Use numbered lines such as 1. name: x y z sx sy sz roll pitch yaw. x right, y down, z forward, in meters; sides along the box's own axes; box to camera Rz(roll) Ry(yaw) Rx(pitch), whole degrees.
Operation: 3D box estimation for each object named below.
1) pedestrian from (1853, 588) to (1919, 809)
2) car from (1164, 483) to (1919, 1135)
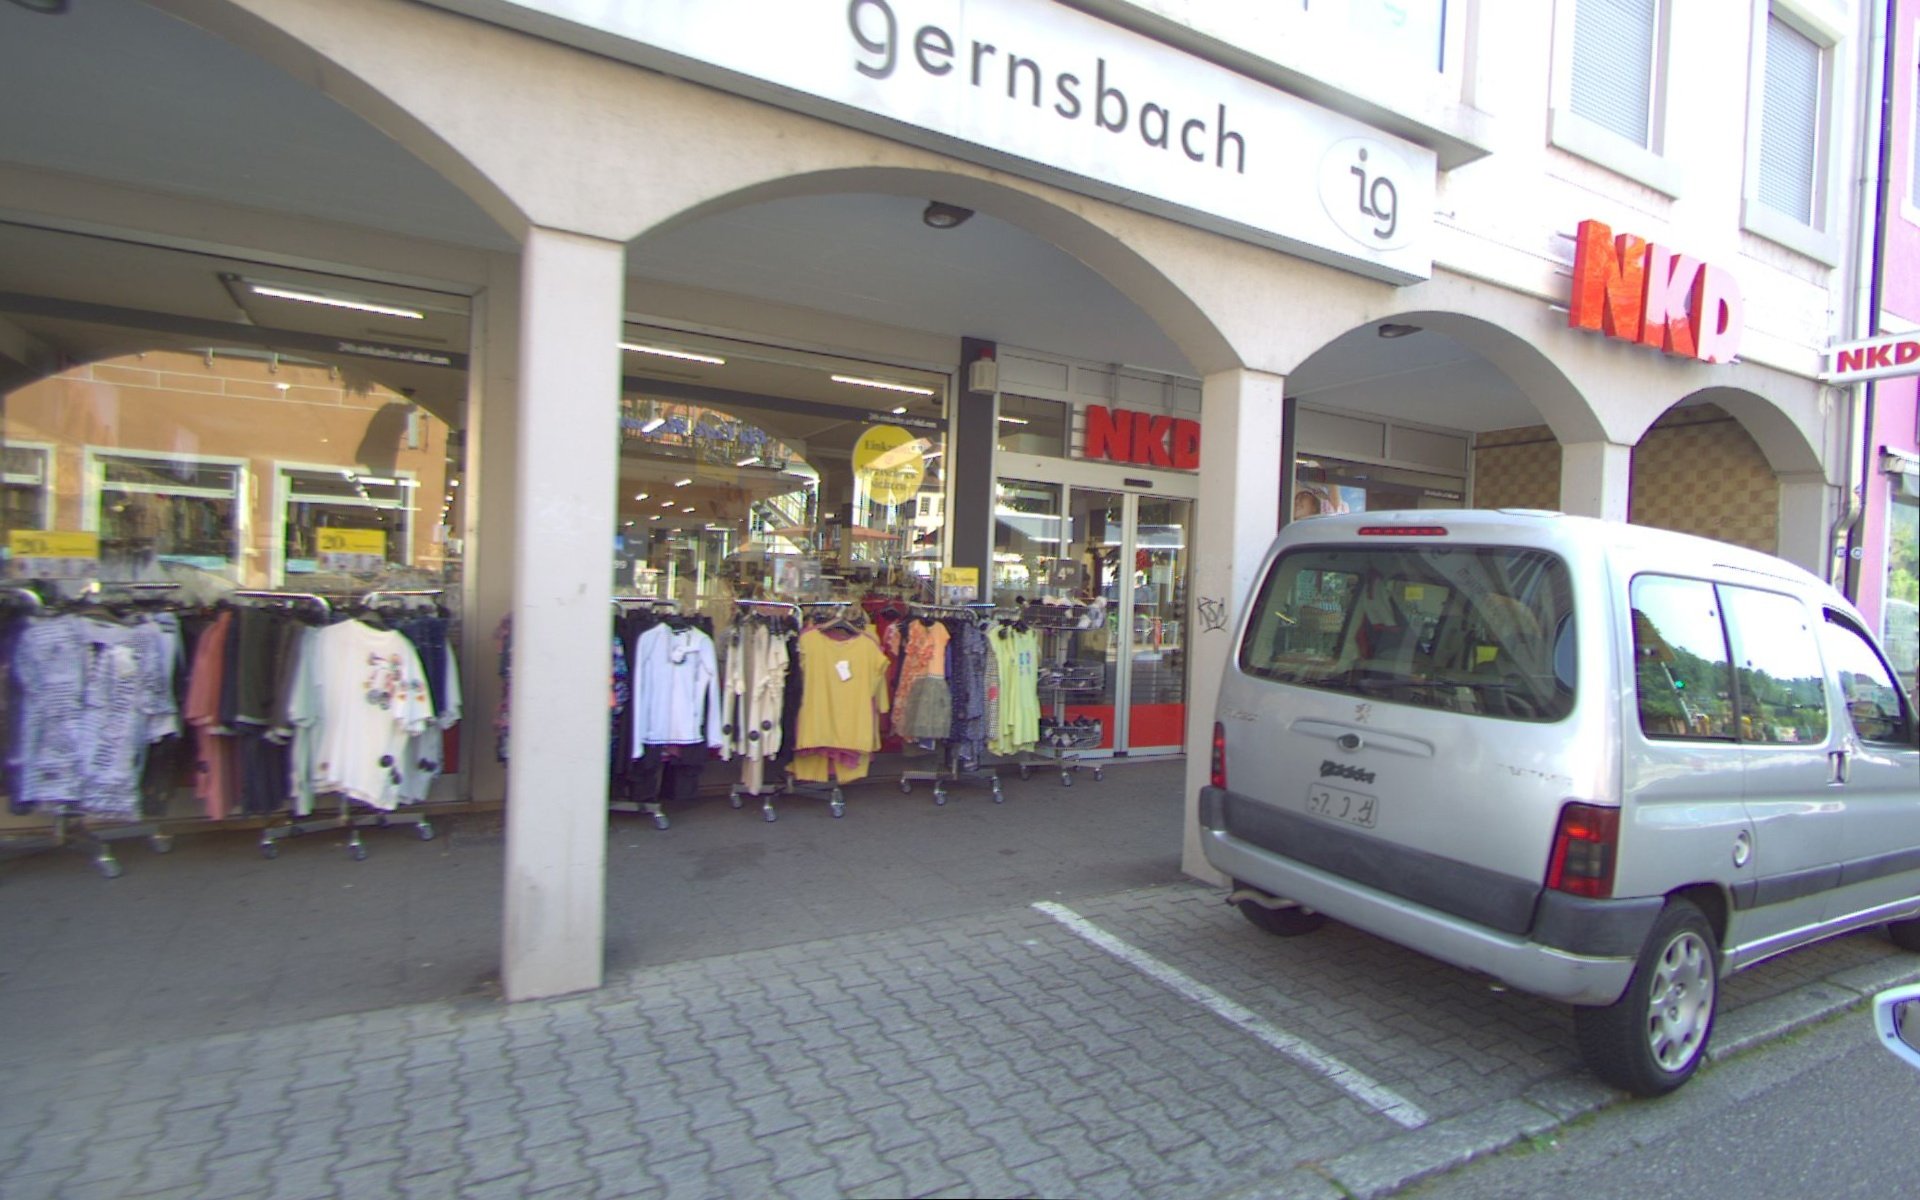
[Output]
1. pedestrian: 7.601 0.754 7.719 0.848 1.654 0.783 1 2 -26
2. car: 3.066 0.567 4.476 4.097 1.763 1.698 1 2 -31
